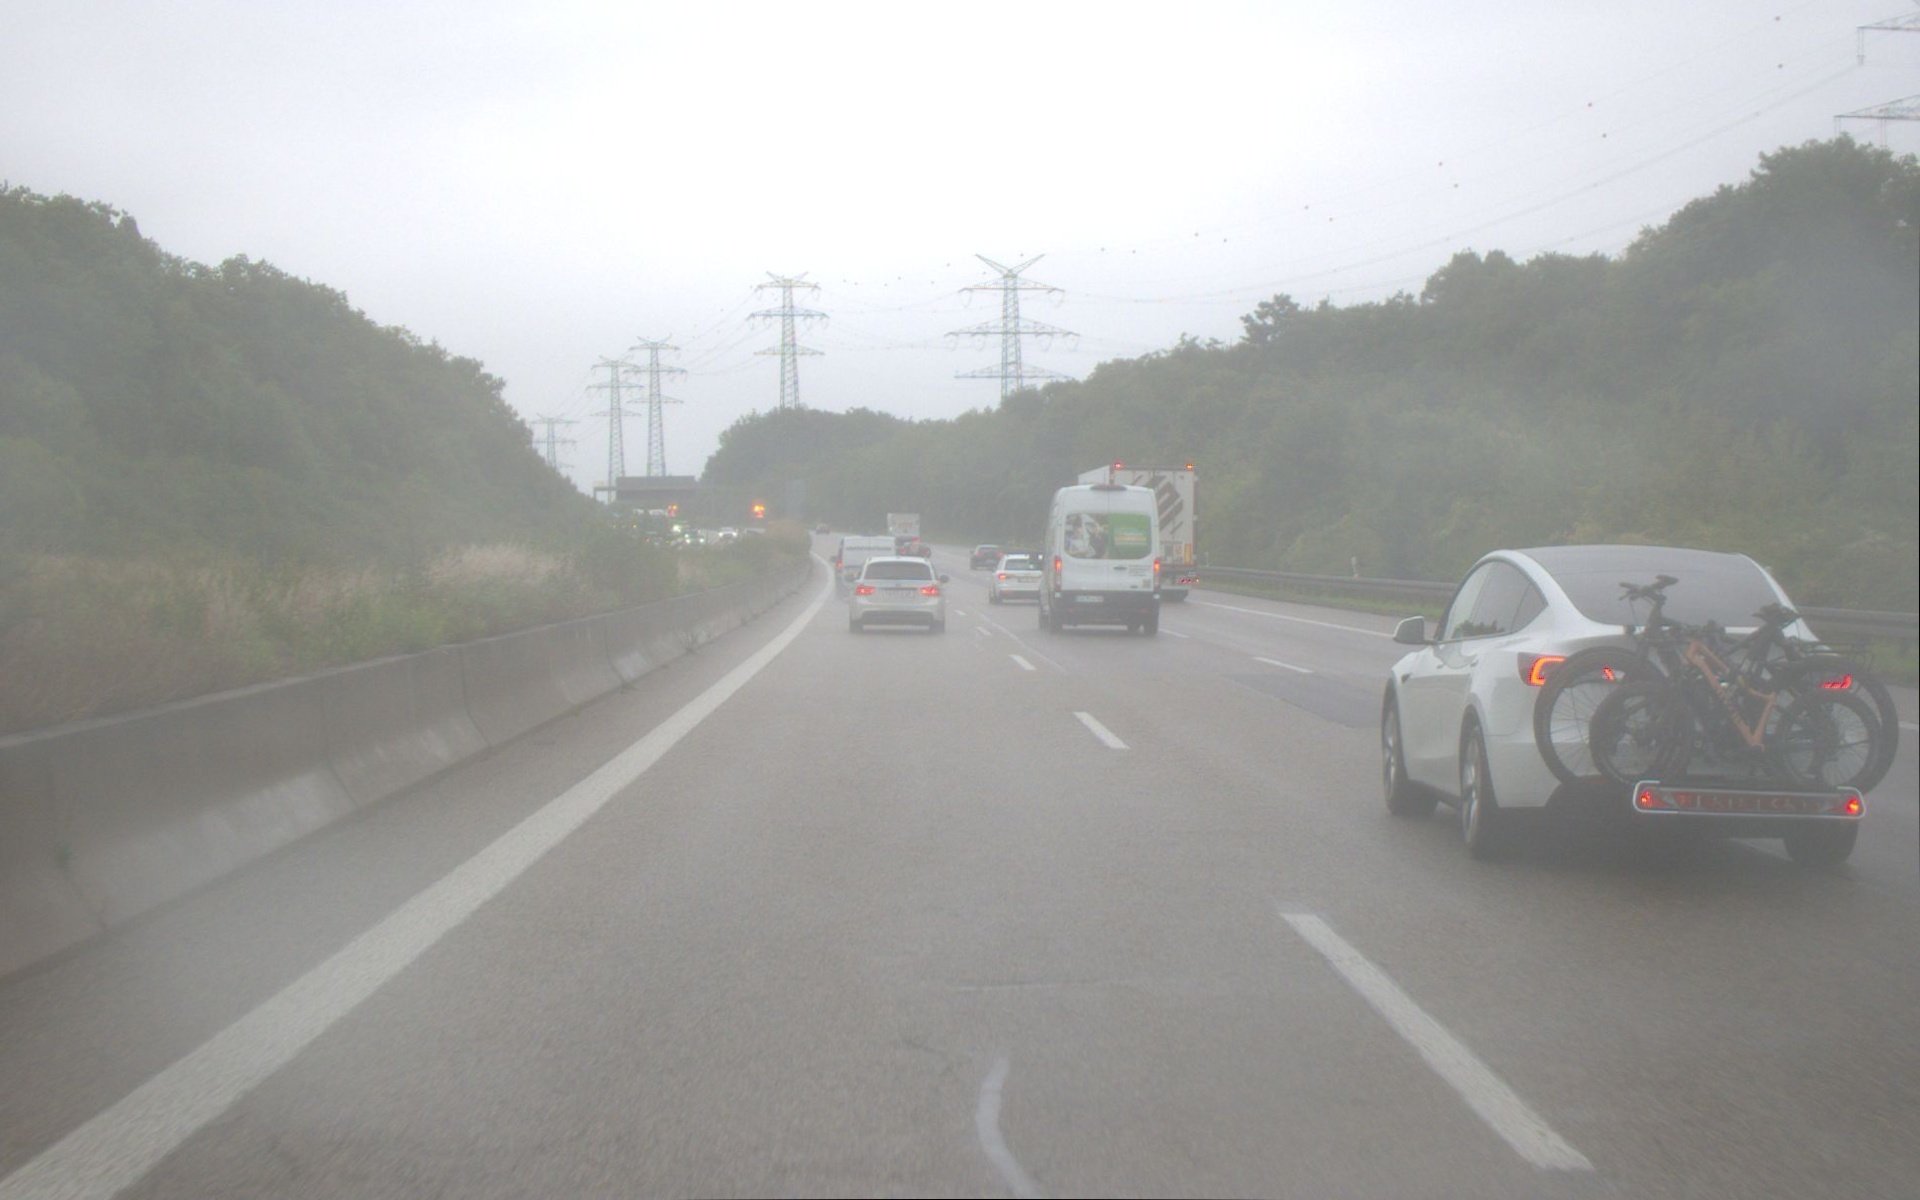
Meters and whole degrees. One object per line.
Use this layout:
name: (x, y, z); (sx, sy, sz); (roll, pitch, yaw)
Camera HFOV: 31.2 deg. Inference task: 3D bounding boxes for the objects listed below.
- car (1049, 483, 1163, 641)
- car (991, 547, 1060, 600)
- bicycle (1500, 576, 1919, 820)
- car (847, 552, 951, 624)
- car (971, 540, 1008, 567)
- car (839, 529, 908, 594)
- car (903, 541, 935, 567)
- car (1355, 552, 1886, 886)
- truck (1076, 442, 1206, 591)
car: (2.708, -0.705, 64.515); (1.993, 2.854, 4.000); (1, 0, 1)
car: (1.814, -0.750, 96.353); (1.857, 1.418, 4.000); (0, 1, 0)
bicycle: (3.454, 0.442, 15.932); (1.753, 1.087, 0.914); (0, 0, 0)
car: (-1.114, -0.243, 64.011); (1.866, 1.284, 4.000); (-1, 1, 0)
car: (1.675, -2.635, 196.023); (1.993, 1.481, 4.000); (-2, 1, -1)
car: (-2.405, -1.076, 96.697); (1.846, 1.766, 4.000); (-1, 1, 0)
car: (-2.575, -2.886, 215.798); (1.993, 1.568, 4.000); (-1, 0, 0)
car: (3.441, 0.535, 18.910); (1.860, 1.562, 4.964); (1, 1, -1)
truck: (5.488, -2.504, 106.456); (3.603, 4.317, 13.199); (0, 1, 1)
